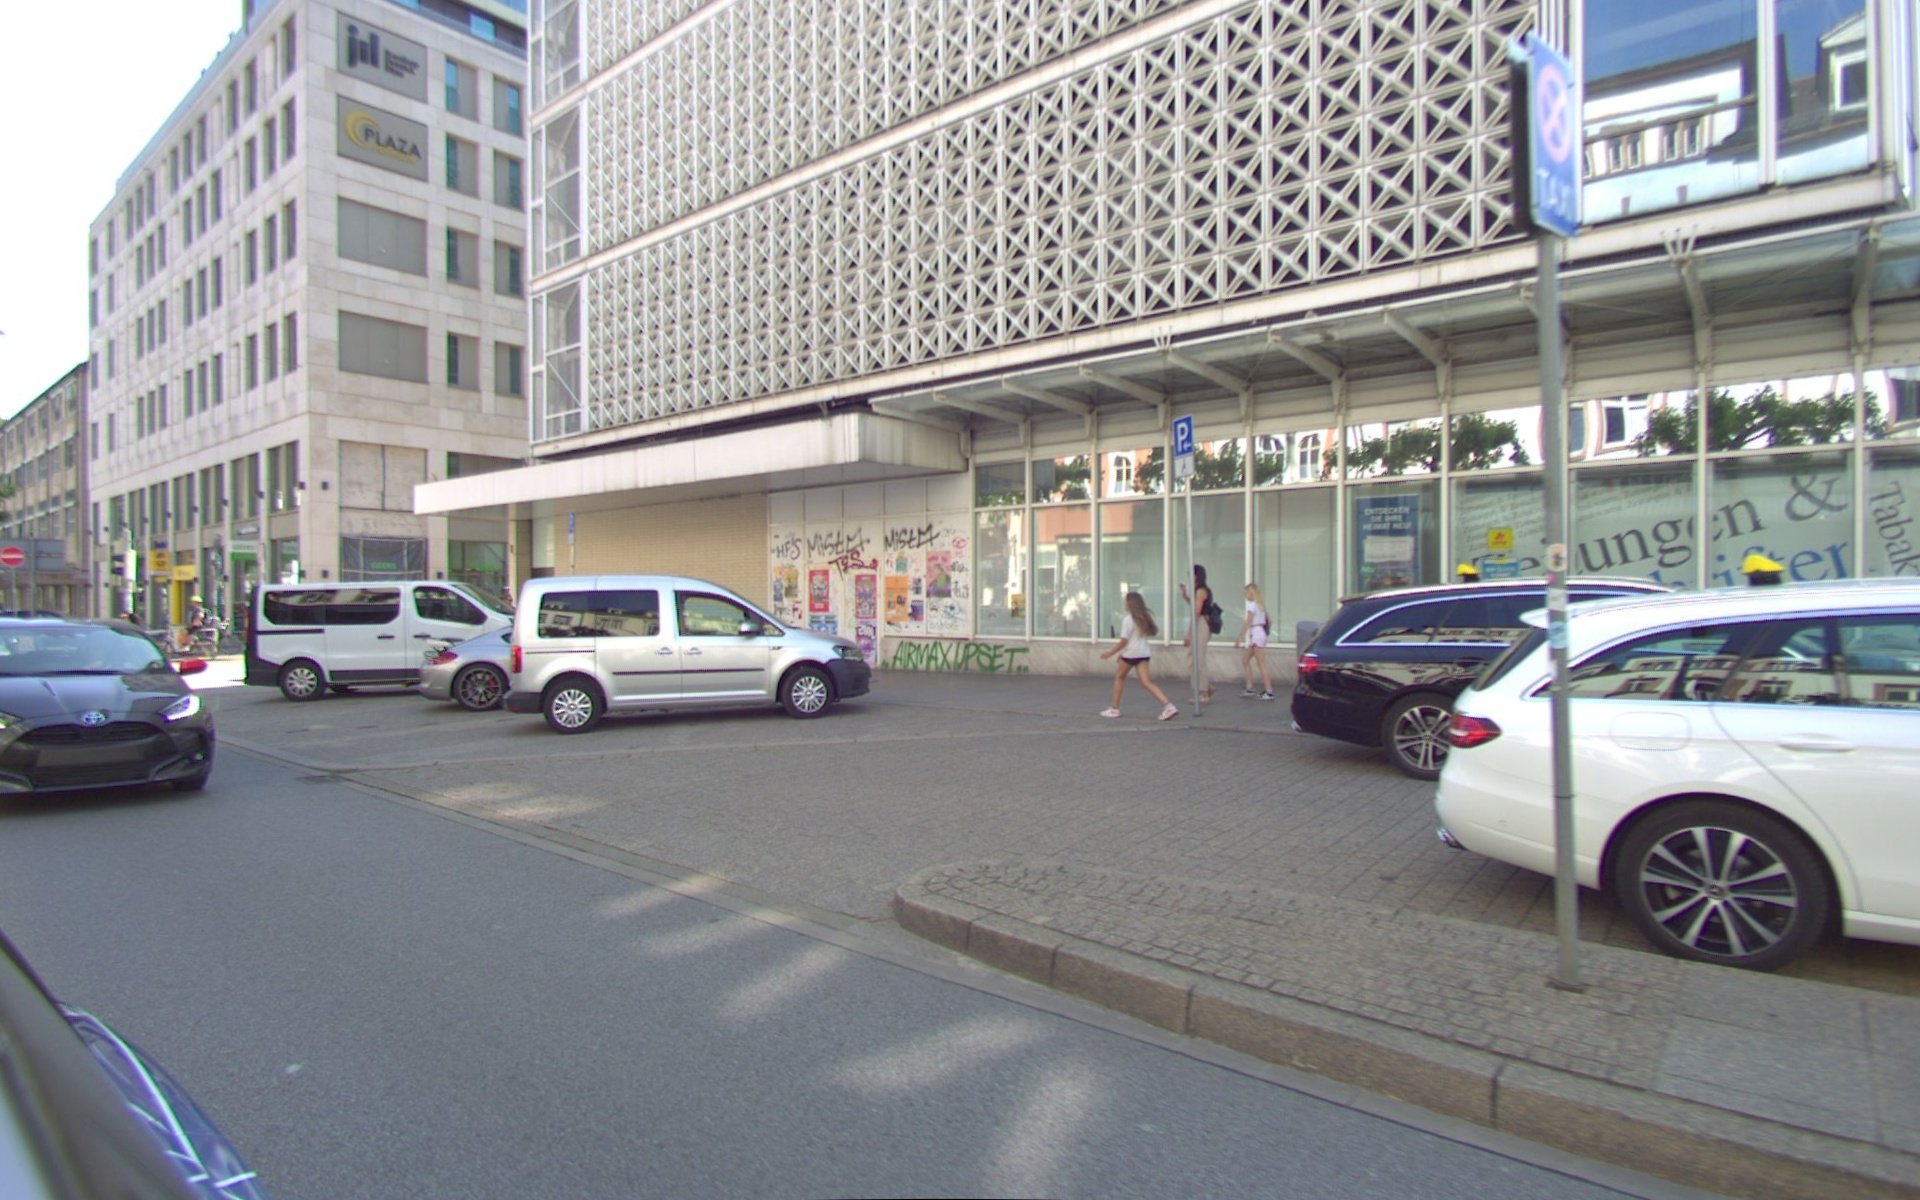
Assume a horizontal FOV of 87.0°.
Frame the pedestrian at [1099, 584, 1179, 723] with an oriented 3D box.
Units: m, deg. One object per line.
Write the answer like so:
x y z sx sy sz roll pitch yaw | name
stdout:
1.966 0.558 11.095 0.640 1.447 0.587 1 3 38 | pedestrian

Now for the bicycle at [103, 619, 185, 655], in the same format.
-27.323 1.230 33.933 2.028 1.135 0.649 -1 0 -23 | bicycle

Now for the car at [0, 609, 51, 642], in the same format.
-48.366 1.391 50.238 4.426 1.443 1.869 -6 4 -30 | car

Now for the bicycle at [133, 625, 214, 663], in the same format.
-24.566 1.361 31.631 1.963 1.135 0.800 0 -1 -43 | bicycle

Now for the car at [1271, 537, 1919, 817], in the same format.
4.837 0.437 7.604 4.392 1.622 1.976 0 1 36 | car

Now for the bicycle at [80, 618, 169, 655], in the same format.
-29.281 1.259 35.493 2.289 1.135 0.564 -3 1 -25 | bicycle

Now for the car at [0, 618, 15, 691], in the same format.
-20.610 1.070 20.521 4.104 1.407 1.711 0 0 41 | car

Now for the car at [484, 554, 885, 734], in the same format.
-3.268 0.464 12.488 4.372 1.924 2.015 -1 -1 -13 | car

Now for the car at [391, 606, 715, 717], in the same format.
-5.966 0.838 15.258 4.225 1.296 1.977 -2 1 -18 | car

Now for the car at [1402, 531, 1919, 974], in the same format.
4.394 0.496 3.740 4.735 1.534 1.781 -1 0 41 | car

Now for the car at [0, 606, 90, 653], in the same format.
-37.930 1.229 40.906 4.108 1.648 2.105 -5 3 -41 | car

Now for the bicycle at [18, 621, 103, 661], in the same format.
-28.239 1.278 31.788 2.033 1.182 0.606 -1 1 -5 | bicycle

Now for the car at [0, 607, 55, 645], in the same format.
-45.793 1.324 47.854 3.970 1.604 1.825 -5 3 -17 | car

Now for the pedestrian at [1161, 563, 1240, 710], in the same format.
2.876 0.403 12.081 0.640 1.673 0.780 1 3 38 | pedestrian

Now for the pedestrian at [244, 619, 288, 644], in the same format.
-26.969 1.222 39.332 0.840 0.932 1.237 -1 -1 39 | pedestrian

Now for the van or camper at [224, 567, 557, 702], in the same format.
-9.654 0.535 17.556 4.585 2.029 2.004 -2 0 -10 | van or camper

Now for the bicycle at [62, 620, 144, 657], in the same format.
-29.293 1.300 34.629 2.029 1.135 0.564 -3 0 -25 | bicycle

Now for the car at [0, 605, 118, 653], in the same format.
-35.192 1.092 38.872 3.965 1.614 1.965 -3 2 -27 | car

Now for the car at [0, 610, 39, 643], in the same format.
-50.508 1.449 52.346 1.819 1.539 3.948 1 4 39 | car

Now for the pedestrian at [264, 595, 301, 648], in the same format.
-24.856 0.774 37.114 0.844 1.892 0.830 0 3 41 | pedestrian

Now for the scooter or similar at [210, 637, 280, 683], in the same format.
-16.242 1.351 23.000 0.895 0.972 0.967 0 0 20 | scooter or similar

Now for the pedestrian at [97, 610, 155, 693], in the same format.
-16.359 1.000 19.858 0.678 1.571 0.635 -2 0 29 | pedestrian

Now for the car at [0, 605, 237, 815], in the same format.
-7.997 0.844 8.908 4.105 1.489 1.843 -2 -2 42 | car

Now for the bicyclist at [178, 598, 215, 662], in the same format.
-24.127 0.938 31.978 0.832 1.975 1.018 0 -1 -44 | bicyclist
